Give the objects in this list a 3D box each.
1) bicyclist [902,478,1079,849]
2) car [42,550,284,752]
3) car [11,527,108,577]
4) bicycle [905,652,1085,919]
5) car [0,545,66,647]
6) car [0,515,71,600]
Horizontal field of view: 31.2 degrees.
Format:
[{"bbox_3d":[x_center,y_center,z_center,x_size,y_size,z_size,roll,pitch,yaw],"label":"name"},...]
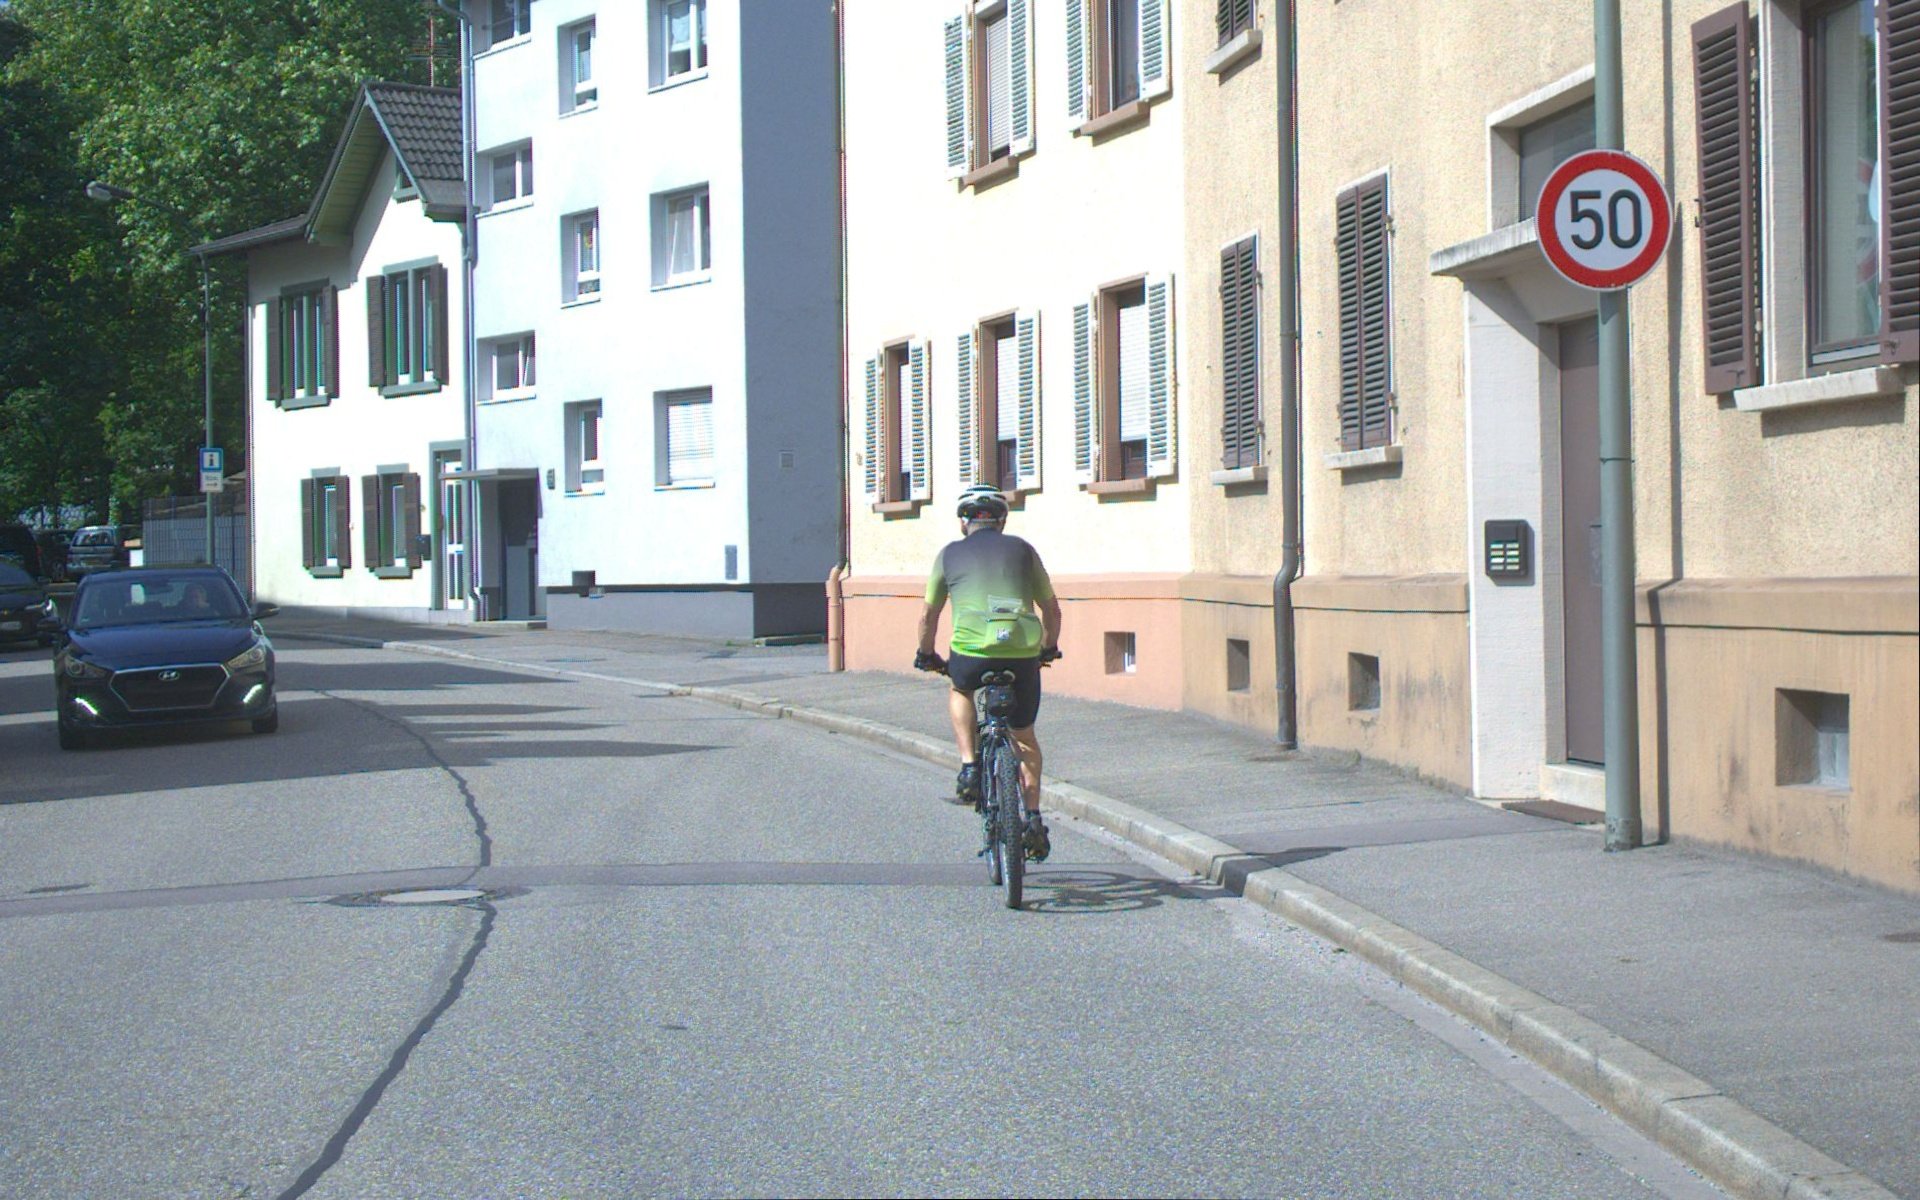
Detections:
[{"bbox_3d":[0.122,0.258,14.656,0.685,1.526,0.716,-1,1,-2],"label":"bicyclist"},{"bbox_3d":[-6.777,0.377,29.561,1.747,1.448,4.029,-5,2,-11],"label":"car"},{"bbox_3d":[-23.768,-1.278,90.661,1.582,1.253,3.858,-2,2,-28],"label":"car"},{"bbox_3d":[0.129,0.764,14.699,0.698,1.032,1.471,0,1,-2],"label":"bicycle"},{"bbox_3d":[-15.030,-0.033,52.635,1.659,1.444,4.259,-5,2,-27],"label":"car"},{"bbox_3d":[-21.832,-0.983,77.559,1.823,1.785,3.999,-3,3,-41],"label":"car"}]
